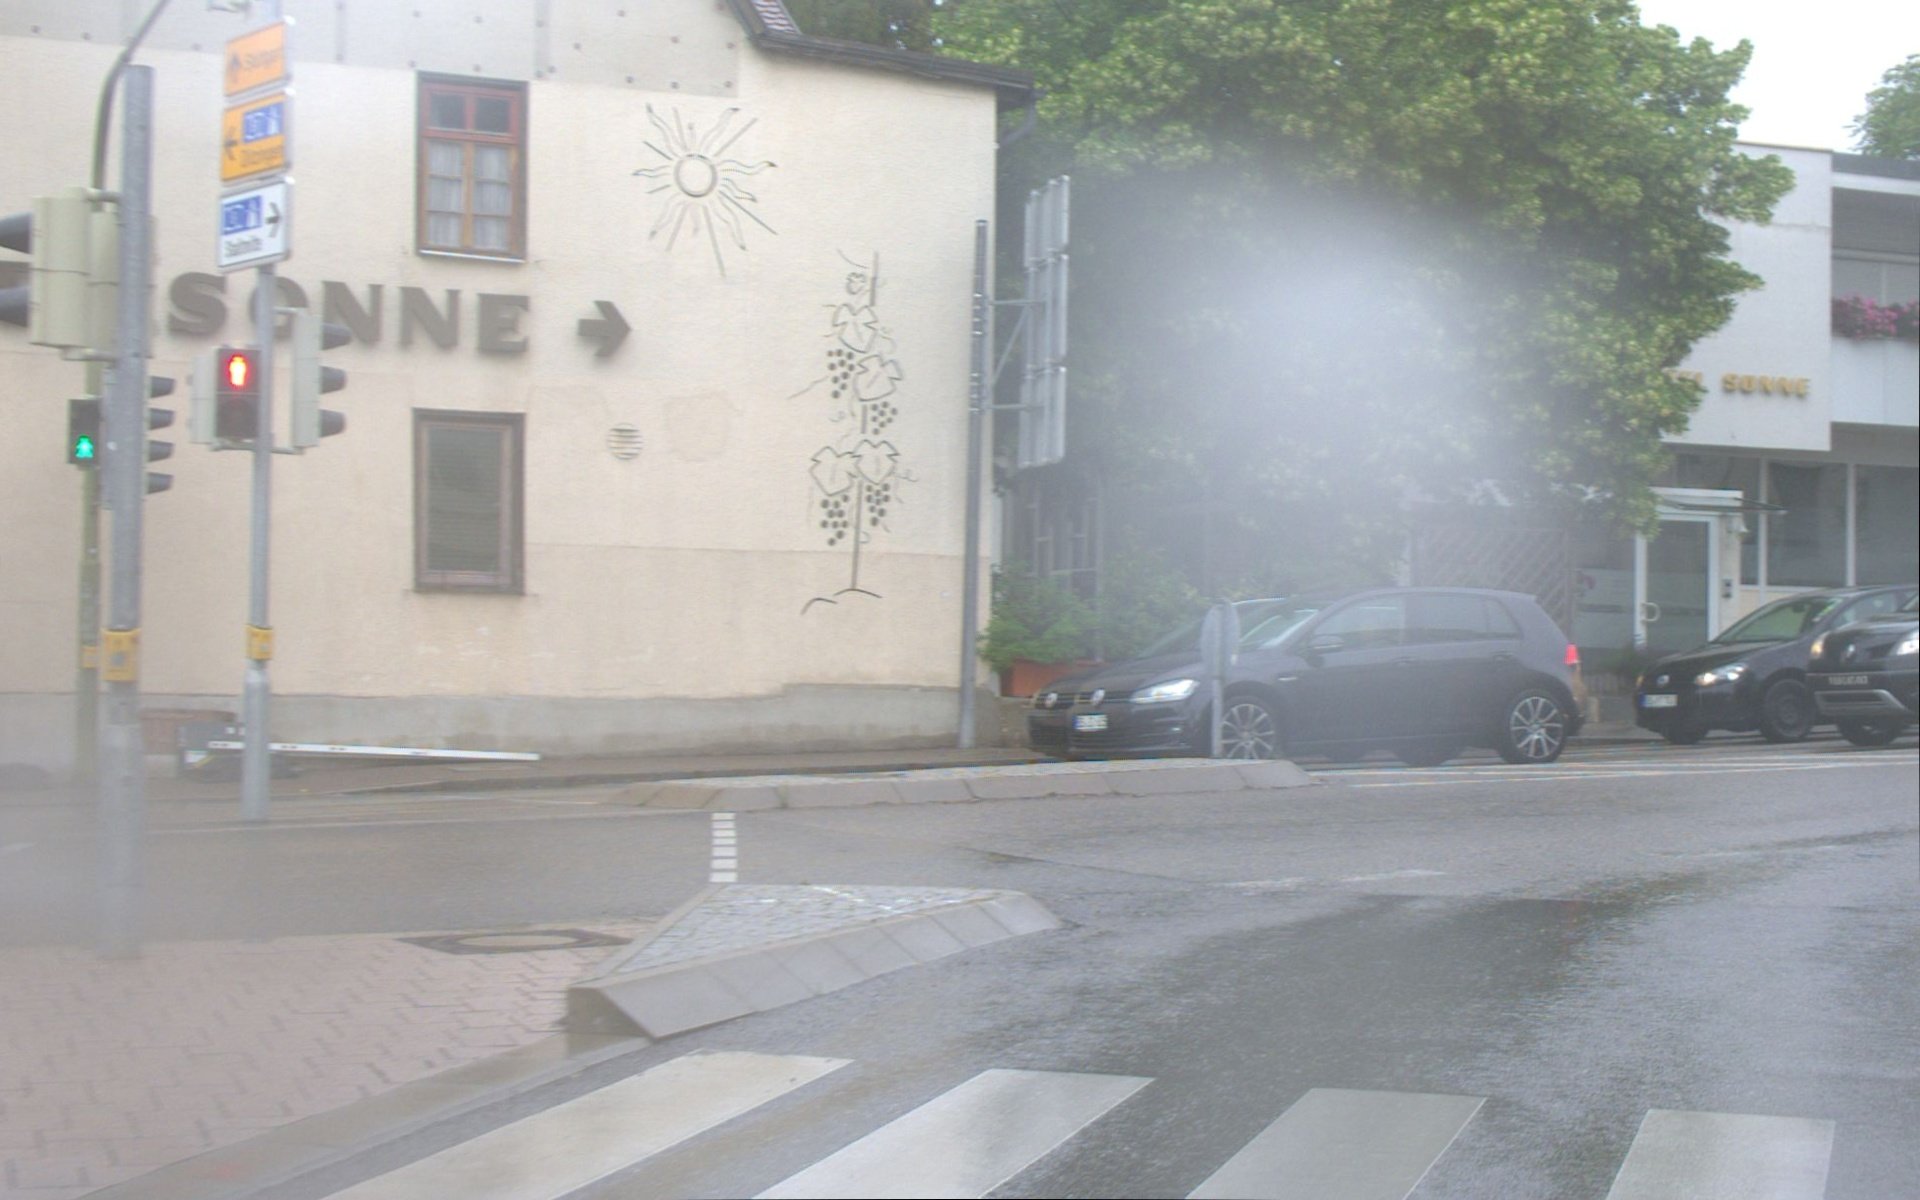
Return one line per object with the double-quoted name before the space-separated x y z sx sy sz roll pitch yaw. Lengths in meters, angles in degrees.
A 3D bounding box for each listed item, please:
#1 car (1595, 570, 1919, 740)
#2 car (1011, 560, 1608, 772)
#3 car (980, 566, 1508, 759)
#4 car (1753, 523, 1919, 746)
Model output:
"car" 8.431 0.519 33.349 4.171 1.513 1.779 -1 -2 -26
"car" 2.739 0.506 26.759 4.301 1.499 1.778 -1 -2 -28
"car" 2.461 0.532 29.685 4.171 1.513 1.779 -1 -2 -26
"car" 9.176 0.275 29.719 4.301 1.809 1.779 -1 -2 -26
